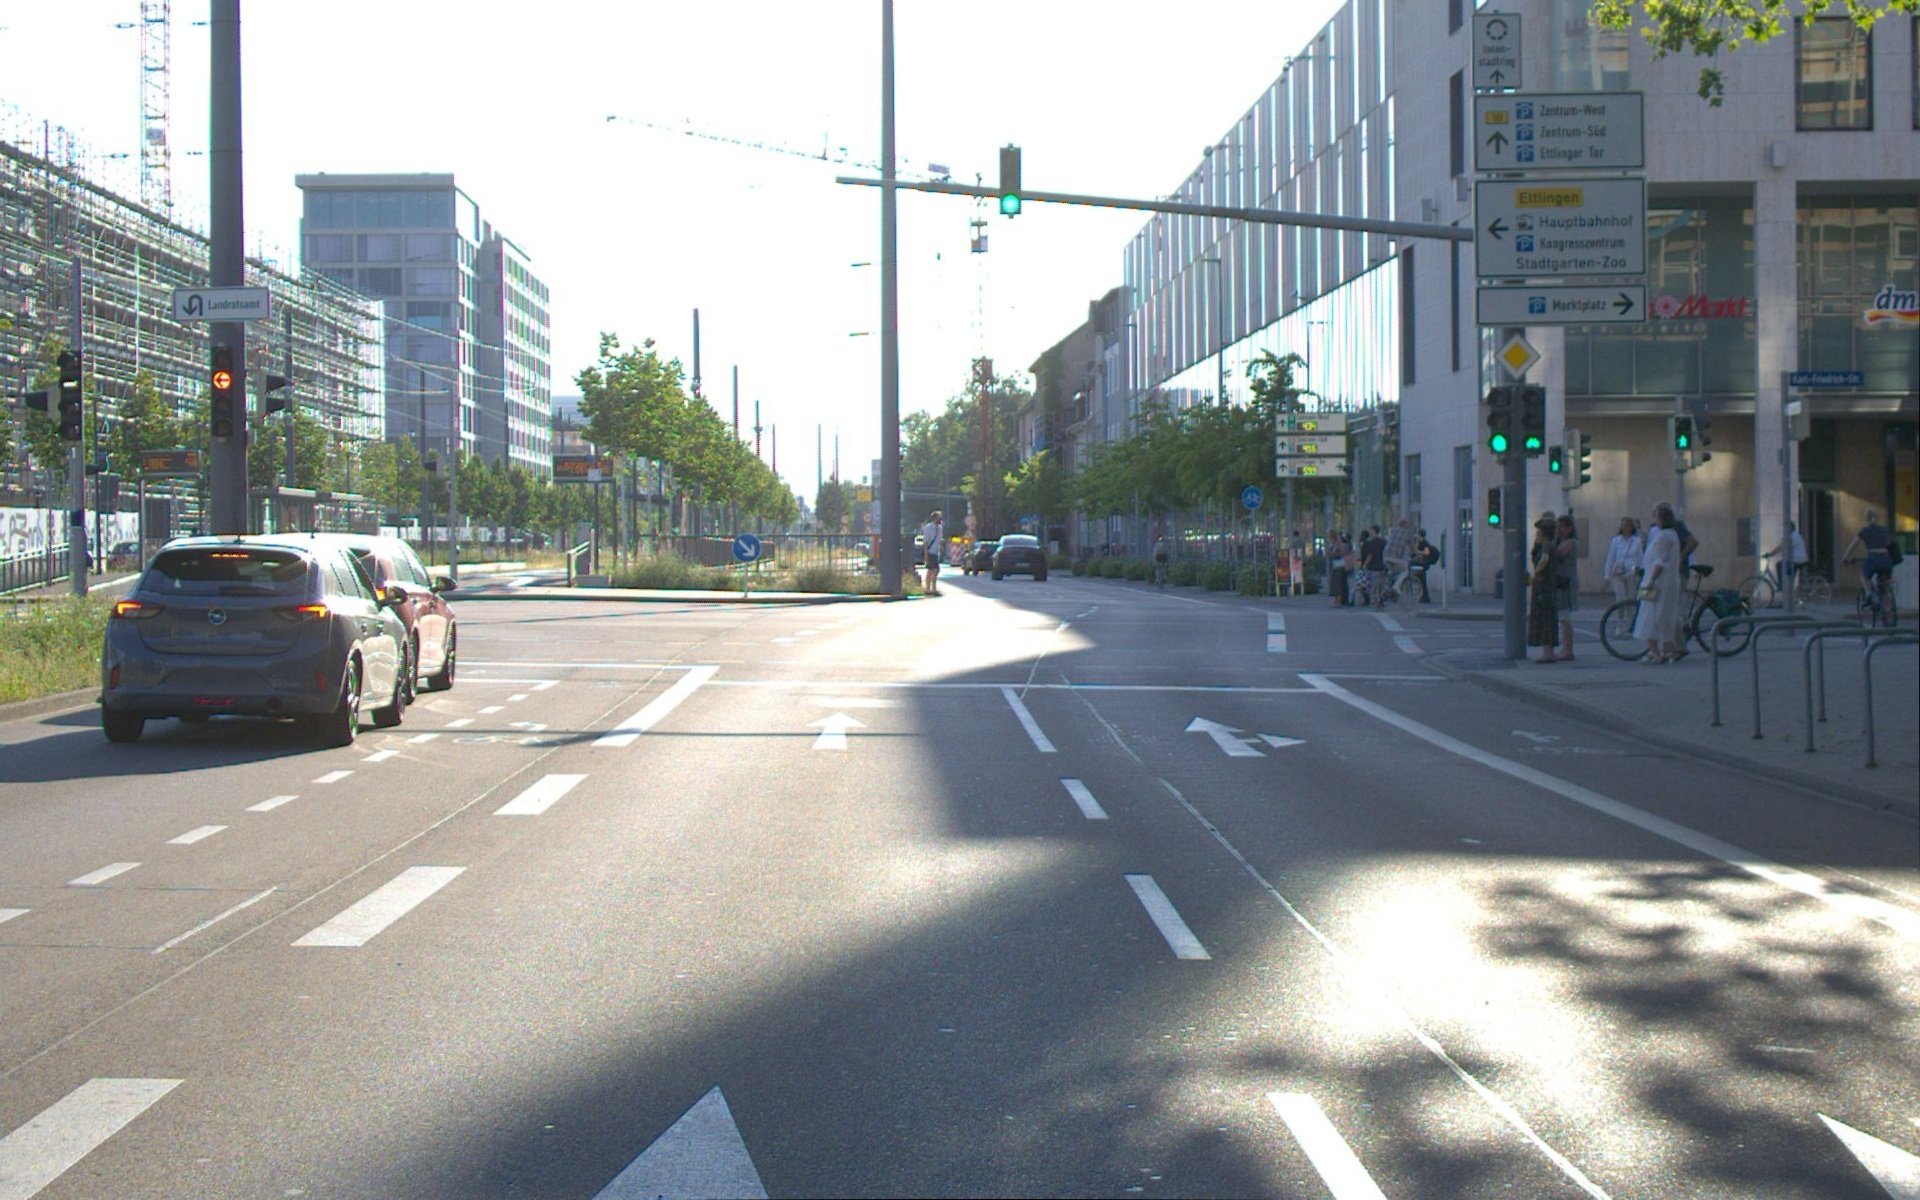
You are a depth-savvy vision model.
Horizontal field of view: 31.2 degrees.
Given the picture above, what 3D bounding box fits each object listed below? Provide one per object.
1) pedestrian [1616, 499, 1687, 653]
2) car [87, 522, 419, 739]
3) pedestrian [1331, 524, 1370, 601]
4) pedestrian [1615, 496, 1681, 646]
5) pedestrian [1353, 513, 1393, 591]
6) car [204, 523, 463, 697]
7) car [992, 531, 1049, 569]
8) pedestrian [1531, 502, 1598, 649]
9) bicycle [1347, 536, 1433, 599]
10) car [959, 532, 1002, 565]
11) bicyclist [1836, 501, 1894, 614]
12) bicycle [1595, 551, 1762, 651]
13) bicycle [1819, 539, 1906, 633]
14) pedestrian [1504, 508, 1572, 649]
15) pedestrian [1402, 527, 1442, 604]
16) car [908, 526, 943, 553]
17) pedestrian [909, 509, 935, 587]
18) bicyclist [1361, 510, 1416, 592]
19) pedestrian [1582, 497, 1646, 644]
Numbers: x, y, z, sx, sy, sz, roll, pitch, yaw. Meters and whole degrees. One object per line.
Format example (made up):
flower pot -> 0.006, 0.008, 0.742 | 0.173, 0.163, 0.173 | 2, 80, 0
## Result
pedestrian -> 7.752, -0.275, 38.555 | 0.634, 1.697, 0.570 | -2, 1, 0
car -> -5.029, 0.161, 24.928 | 1.776, 1.423, 4.001 | 1, 1, -3
pedestrian -> 8.858, -0.853, 78.092 | 0.817, 1.728, 0.790 | 0, 1, 2
pedestrian -> 9.609, -0.417, 48.057 | 0.766, 2.053, 0.797 | -2, 1, 5
pedestrian -> 9.233, -1.078, 76.871 | 0.817, 1.728, 0.790 | 0, 1, 2
car -> -5.487, 0.039, 30.534 | 1.703, 1.423, 3.926 | 1, 1, -2
car -> 2.319, -1.943, 132.680 | 1.940, 1.423, 3.926 | 0, 1, -3
pedestrian -> 7.128, -0.292, 40.581 | 0.634, 1.697, 0.570 | -2, 1, 0
bicycle -> 8.429, -0.644, 67.304 | 0.801, 1.200, 2.260 | 1, 2, 32
car -> 0.929, -2.373, 157.540 | 1.703, 1.423, 3.926 | 0, 1, -3
bicyclist -> 12.190, -0.577, 46.326 | 0.578, 1.517, 0.749 | 0, 1, 0
bicycle -> 8.264, 0.011, 39.572 | 1.803, 1.082, 0.479 | -2, 1, 1
bicycle -> 12.189, -0.203, 46.473 | 0.592, 1.227, 2.154 | 0, 1, 0
pedestrian -> 6.734, -0.255, 40.068 | 0.634, 1.602, 0.570 | -2, 1, 0
pedestrian -> 10.450, -0.785, 77.825 | 0.817, 1.728, 0.790 | 0, 1, 2
car -> -1.919, -3.360, 190.383 | 1.759, 1.479, 3.850 | 0, 1, -3
pedestrian -> -0.854, -1.158, 76.891 | 0.492, 1.737, 0.447 | -1, 1, -11
bicyclist -> 8.380, -0.959, 67.211 | 0.801, 1.596, 0.784 | 1, 2, 32
pedestrian -> 9.326, -0.426, 49.022 | 0.766, 2.053, 0.797 | -2, 1, 5
